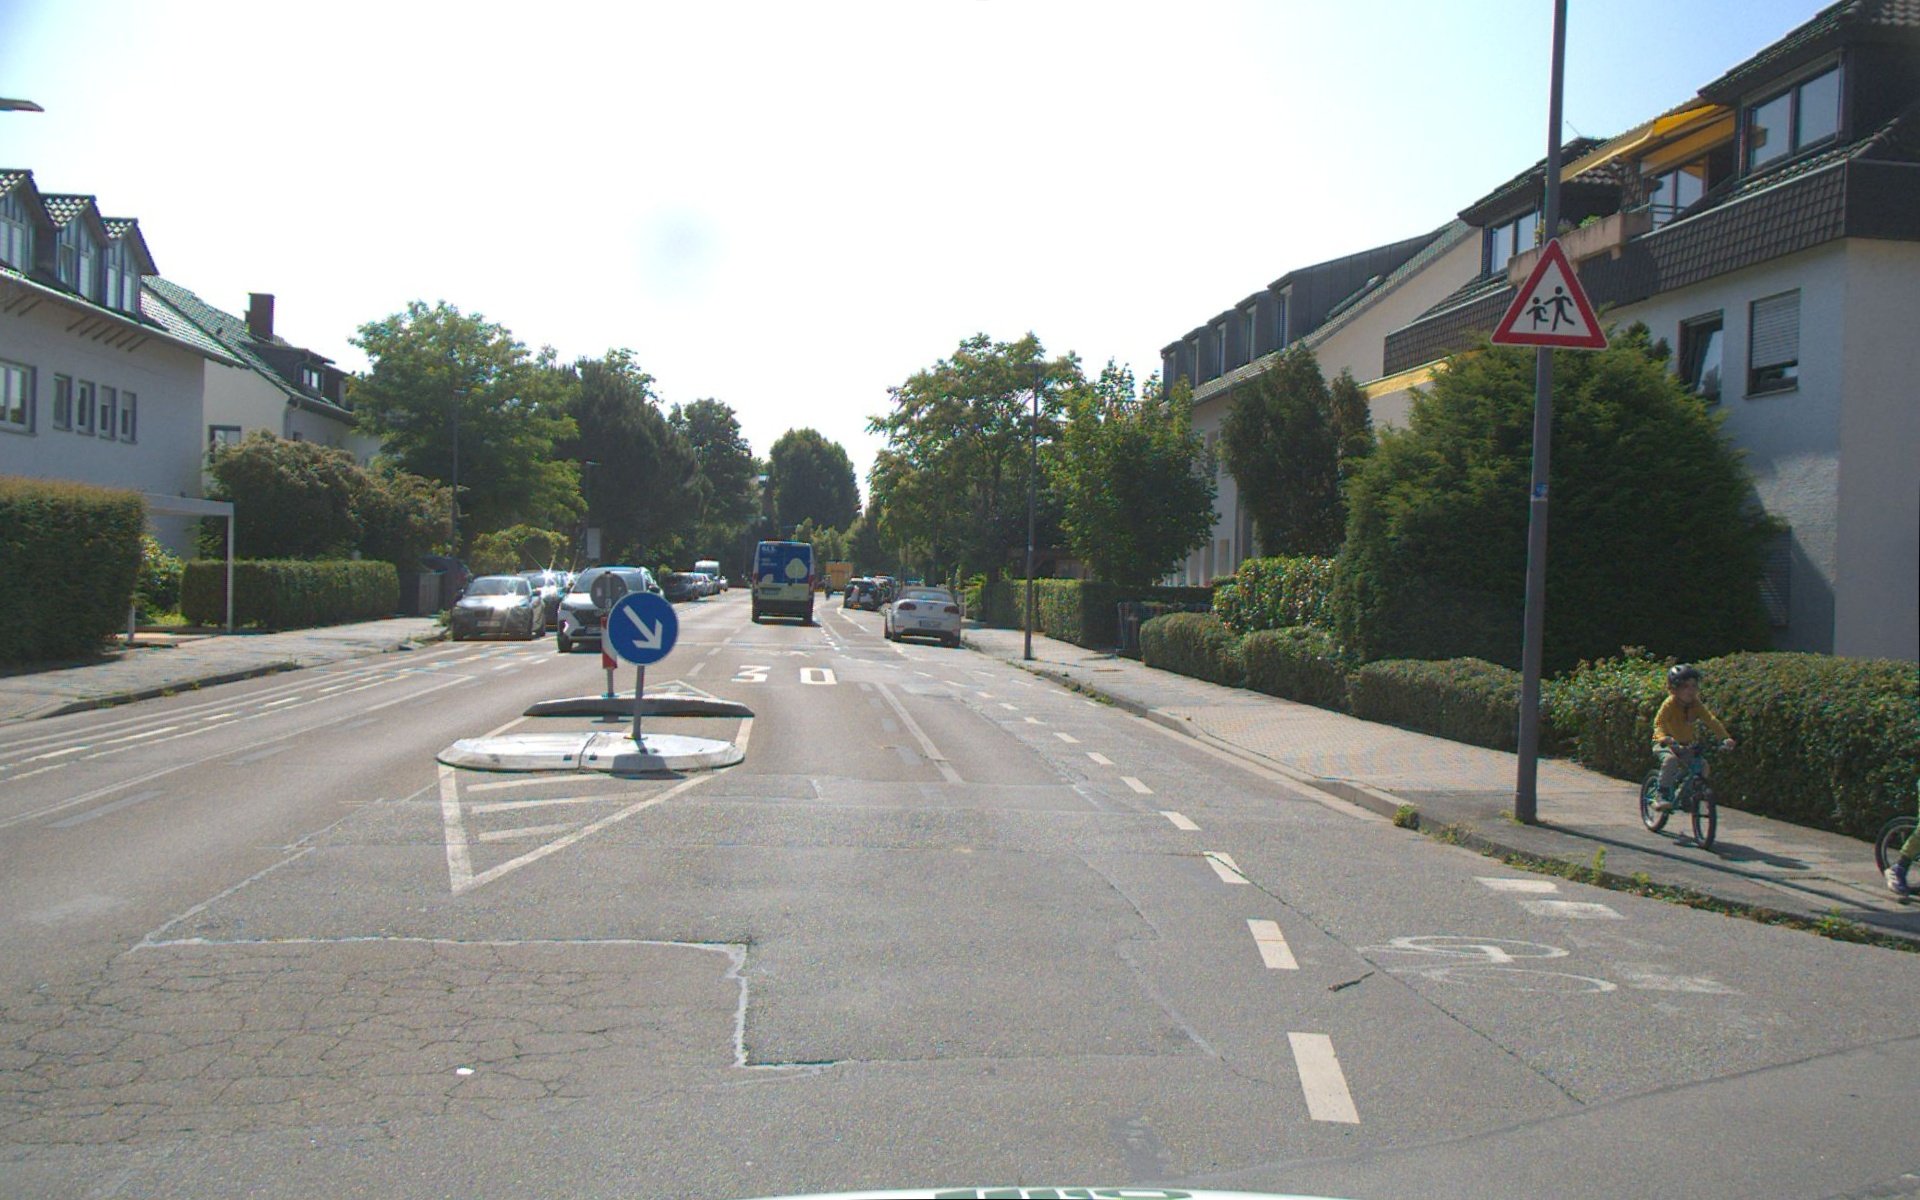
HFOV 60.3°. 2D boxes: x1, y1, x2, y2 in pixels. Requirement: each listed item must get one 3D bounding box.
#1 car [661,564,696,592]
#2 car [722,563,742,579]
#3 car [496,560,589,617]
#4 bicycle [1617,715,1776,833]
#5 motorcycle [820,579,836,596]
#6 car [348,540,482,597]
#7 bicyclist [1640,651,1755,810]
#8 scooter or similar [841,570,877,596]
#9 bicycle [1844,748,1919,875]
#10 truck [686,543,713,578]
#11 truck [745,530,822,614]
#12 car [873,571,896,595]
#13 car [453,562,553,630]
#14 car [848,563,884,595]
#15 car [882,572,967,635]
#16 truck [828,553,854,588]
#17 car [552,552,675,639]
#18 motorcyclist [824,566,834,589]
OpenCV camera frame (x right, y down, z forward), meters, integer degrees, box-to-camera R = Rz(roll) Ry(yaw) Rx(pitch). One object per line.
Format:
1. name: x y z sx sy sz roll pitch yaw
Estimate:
1. car: -16.260 -1.292 95.644 1.747 1.485 4.080 3 1 -7
2. car: -20.883 -2.643 151.471 1.721 1.367 3.648 2 1 -7
3. car: -11.223 -0.345 44.657 1.750 1.465 4.107 1 1 -4
4. bicycle: 4.719 1.102 10.659 0.393 0.610 1.149 1 1 -7
5. motorcycle: -9.172 -0.858 115.086 1.036 1.142 2.989 2 1 -6
6. car: -18.474 -1.074 56.235 3.910 1.790 1.998 2 1 -6
7. bicyclist: 4.713 0.822 10.587 0.391 0.949 0.608 2 0 -7
8. scooter or similar: -5.354 -0.894 87.637 1.764 1.173 0.716 6 1 39
9. bicycle: 5.291 1.152 8.694 0.395 0.610 1.167 1 1 -19
10. truck: -20.567 -3.128 130.738 2.042 2.581 5.457 2 1 -9
11. truck: -5.969 -0.936 55.365 2.231 2.616 4.382 2 1 -10
12. car: -5.667 -1.290 124.402 1.666 1.706 3.773 2 1 -3
13. car: -10.521 -0.132 38.291 1.752 1.465 4.147 0 1 -9
14. car: -5.147 -1.156 90.367 1.750 1.666 4.465 2 1 -6
15. car: -0.962 0.068 42.719 1.707 1.426 4.068 4 0 -7
16. truck: -10.745 -2.631 149.213 2.171 2.997 5.682 2 1 -4
17. car: -7.177 -0.114 34.628 1.877 1.695 4.503 0 1 -4
18. motorcyclist: -9.114 -1.547 114.792 0.659 1.545 0.651 2 0 -6
